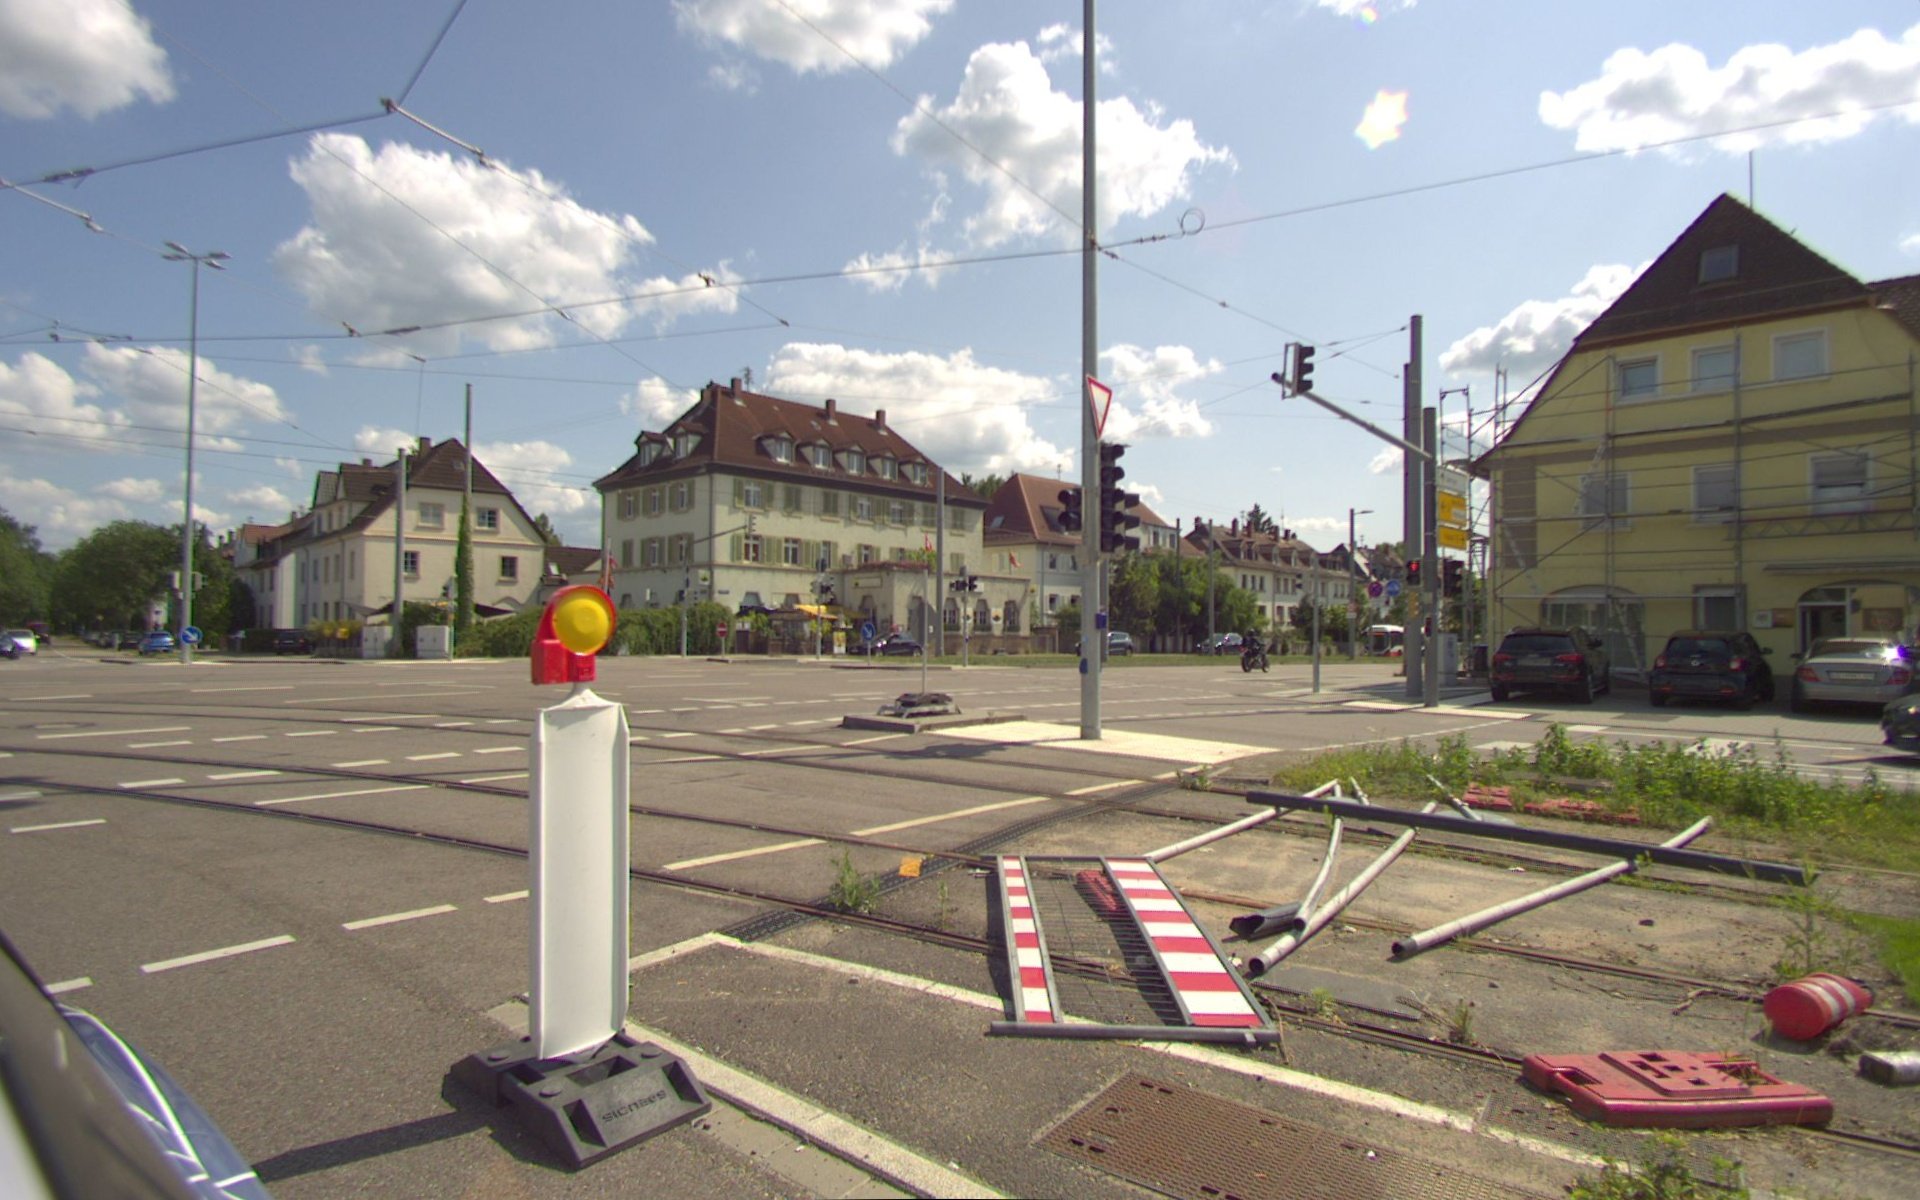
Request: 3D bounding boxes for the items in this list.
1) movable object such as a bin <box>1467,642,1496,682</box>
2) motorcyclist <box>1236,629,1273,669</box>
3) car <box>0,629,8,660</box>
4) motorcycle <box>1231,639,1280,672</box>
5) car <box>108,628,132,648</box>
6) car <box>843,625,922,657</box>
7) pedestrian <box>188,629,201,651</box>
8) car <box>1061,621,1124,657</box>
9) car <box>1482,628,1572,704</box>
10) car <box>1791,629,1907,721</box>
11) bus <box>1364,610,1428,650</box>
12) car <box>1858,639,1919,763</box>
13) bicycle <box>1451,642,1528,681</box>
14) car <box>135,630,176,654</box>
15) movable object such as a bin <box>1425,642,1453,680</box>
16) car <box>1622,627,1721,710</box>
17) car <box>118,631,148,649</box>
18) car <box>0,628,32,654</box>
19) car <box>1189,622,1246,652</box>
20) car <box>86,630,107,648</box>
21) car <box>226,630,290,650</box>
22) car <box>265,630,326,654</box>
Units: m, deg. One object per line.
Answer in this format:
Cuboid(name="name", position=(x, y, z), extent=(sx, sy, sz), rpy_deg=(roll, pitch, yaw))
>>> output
Cuboid(name="movable object such as a bin", position=(17.202, 2.034, 33.394), extent=(0.682, 1.270, 0.674), rpy_deg=(-2, -2, 43))
Cuboid(name="motorcyclist", position=(11.082, 1.845, 38.082), extent=(0.825, 1.409, 1.085), rpy_deg=(-8, -8, 42))
Cuboid(name="car", position=(-46.976, 2.129, 48.658), extent=(1.685, 1.473, 3.157), rpy_deg=(2, -3, -44))
Cuboid(name="motorcycle", position=(11.164, 2.064, 38.196), extent=(0.844, 1.136, 2.326), rpy_deg=(0, -1, 42))
Cuboid(name="car", position=(-72.212, 3.238, 86.983), extent=(1.539, 1.667, 3.579), rpy_deg=(2, -3, -40))
Cuboid(name="car", position=(-3.894, 2.084, 51.408), extent=(1.747, 1.596, 3.870), rpy_deg=(-2, -3, 42))
Cuboid(name="pedestrian", position=(-56.264, 2.944, 74.359), extent=(0.618, 1.547, 0.624), rpy_deg=(-2, -3, 40))
Cuboid(name="car", position=(7.801, 2.298, 59.538), extent=(1.905, 2.029, 3.662), rpy_deg=(-1, -2, 43))
Cuboid(name="car", position=(13.048, 1.435, 23.197), extent=(1.178, 1.505, 4.094), rpy_deg=(-1, -1, 38))
Cuboid(name="car", position=(17.108, 1.360, 19.619), extent=(1.433, 1.505, 4.094), rpy_deg=(-1, -1, 38))
Cuboid(name="bus", position=(43.804, 3.068, 101.359), extent=(2.400, 3.805, 11.857), rpy_deg=(-1, -2, 41))
Cuboid(name="car", position=(13.447, 1.244, 11.865), extent=(4.332, 1.498, 1.808), rpy_deg=(-1, -2, 41))
Cuboid(name="bicycle", position=(19.979, 2.308, 38.253), extent=(0.764, 1.366, 2.460), rpy_deg=(1, -2, -42))
Cuboid(name="car", position=(-50.717, 2.666, 63.778), extent=(1.685, 1.473, 3.157), rpy_deg=(2, -3, -44))
Cuboid(name="movable object such as a bin", position=(16.269, 2.062, 34.351), extent=(0.682, 1.270, 0.674), rpy_deg=(-2, -2, 43))
Cuboid(name="car", position=(15.215, 1.381, 21.564), extent=(1.505, 1.505, 4.094), rpy_deg=(-1, -1, 38))
Cuboid(name="car", position=(-62.809, 3.041, 76.859), extent=(1.684, 1.306, 3.924), rpy_deg=(2, -3, -40))
Cuboid(name="car", position=(-55.038, 2.376, 58.758), extent=(1.685, 1.473, 3.158), rpy_deg=(2, -3, -43))
Cuboid(name="car", position=(17.875, 2.583, 70.310), extent=(3.938, 2.029, 2.003), rpy_deg=(2, -2, -42))
Cuboid(name="car", position=(-83.222, 3.777, 97.554), extent=(1.539, 1.667, 3.256), rpy_deg=(2, -3, -40))
Cuboid(name="car", position=(-52.048, 2.963, 75.047), extent=(3.749, 1.465, 1.713), rpy_deg=(2, -3, -41))
Cuboid(name="car", position=(-39.339, 2.480, 60.048), extent=(1.732, 1.397, 4.113), rpy_deg=(1, -2, -14))
